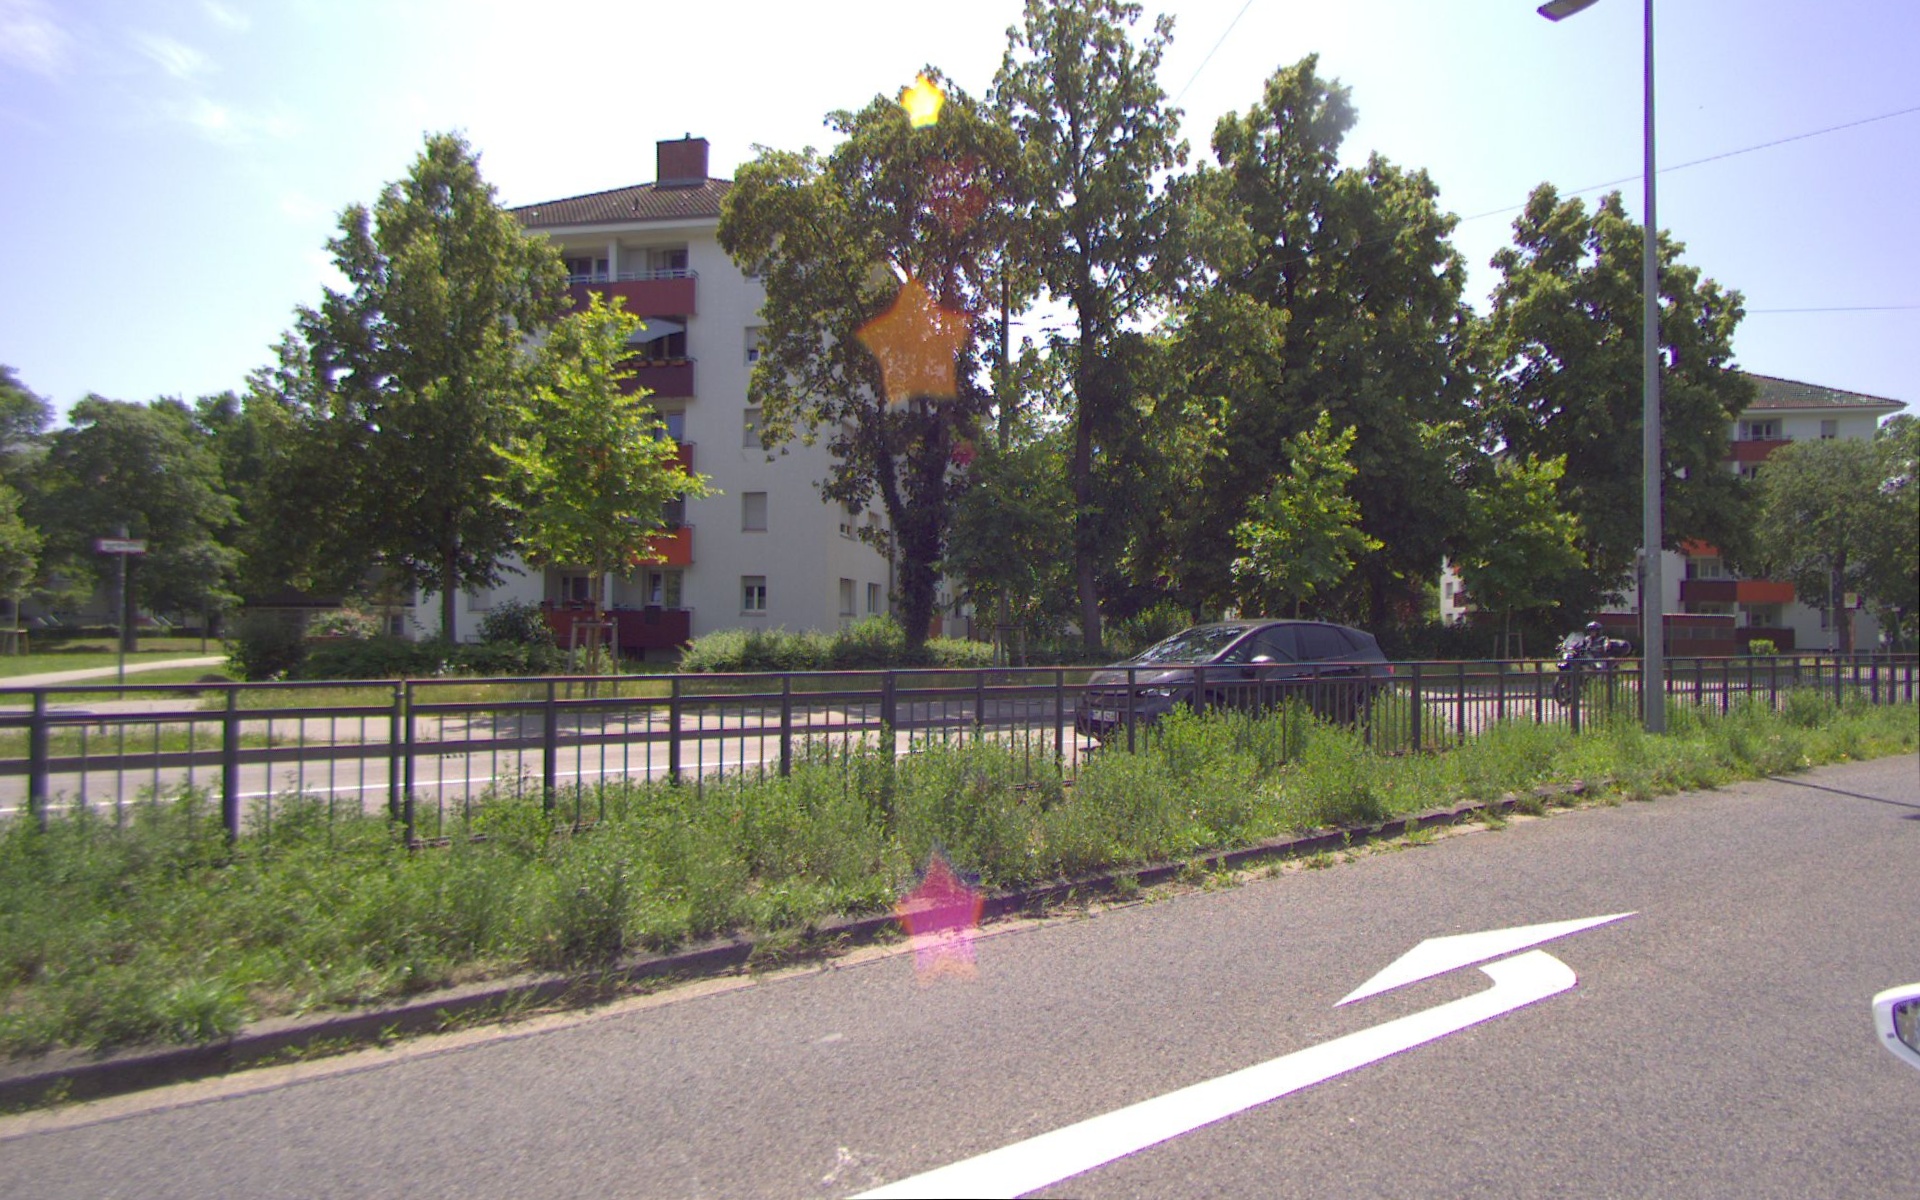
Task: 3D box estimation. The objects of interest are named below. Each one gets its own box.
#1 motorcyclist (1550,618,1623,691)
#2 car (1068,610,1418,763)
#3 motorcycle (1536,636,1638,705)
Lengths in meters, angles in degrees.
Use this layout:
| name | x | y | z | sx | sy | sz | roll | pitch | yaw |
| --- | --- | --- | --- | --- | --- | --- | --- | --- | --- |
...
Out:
| name | x | y | z | sx | sy | sz | roll | pitch | yaw |
| --- | --- | --- | --- | --- | --- | --- | --- | --- | --- |
| motorcyclist | 12.618 | 1.077 | 20.232 | 1.497 | 1.422 | 0.731 | 2 | -2 | -35 |
| car | 3.466 | 0.942 | 12.108 | 4.113 | 1.563 | 1.747 | 1 | -2 | -31 |
| motorcycle | 12.645 | 1.396 | 20.240 | 2.368 | 1.316 | 0.801 | 2 | -2 | -32 |
